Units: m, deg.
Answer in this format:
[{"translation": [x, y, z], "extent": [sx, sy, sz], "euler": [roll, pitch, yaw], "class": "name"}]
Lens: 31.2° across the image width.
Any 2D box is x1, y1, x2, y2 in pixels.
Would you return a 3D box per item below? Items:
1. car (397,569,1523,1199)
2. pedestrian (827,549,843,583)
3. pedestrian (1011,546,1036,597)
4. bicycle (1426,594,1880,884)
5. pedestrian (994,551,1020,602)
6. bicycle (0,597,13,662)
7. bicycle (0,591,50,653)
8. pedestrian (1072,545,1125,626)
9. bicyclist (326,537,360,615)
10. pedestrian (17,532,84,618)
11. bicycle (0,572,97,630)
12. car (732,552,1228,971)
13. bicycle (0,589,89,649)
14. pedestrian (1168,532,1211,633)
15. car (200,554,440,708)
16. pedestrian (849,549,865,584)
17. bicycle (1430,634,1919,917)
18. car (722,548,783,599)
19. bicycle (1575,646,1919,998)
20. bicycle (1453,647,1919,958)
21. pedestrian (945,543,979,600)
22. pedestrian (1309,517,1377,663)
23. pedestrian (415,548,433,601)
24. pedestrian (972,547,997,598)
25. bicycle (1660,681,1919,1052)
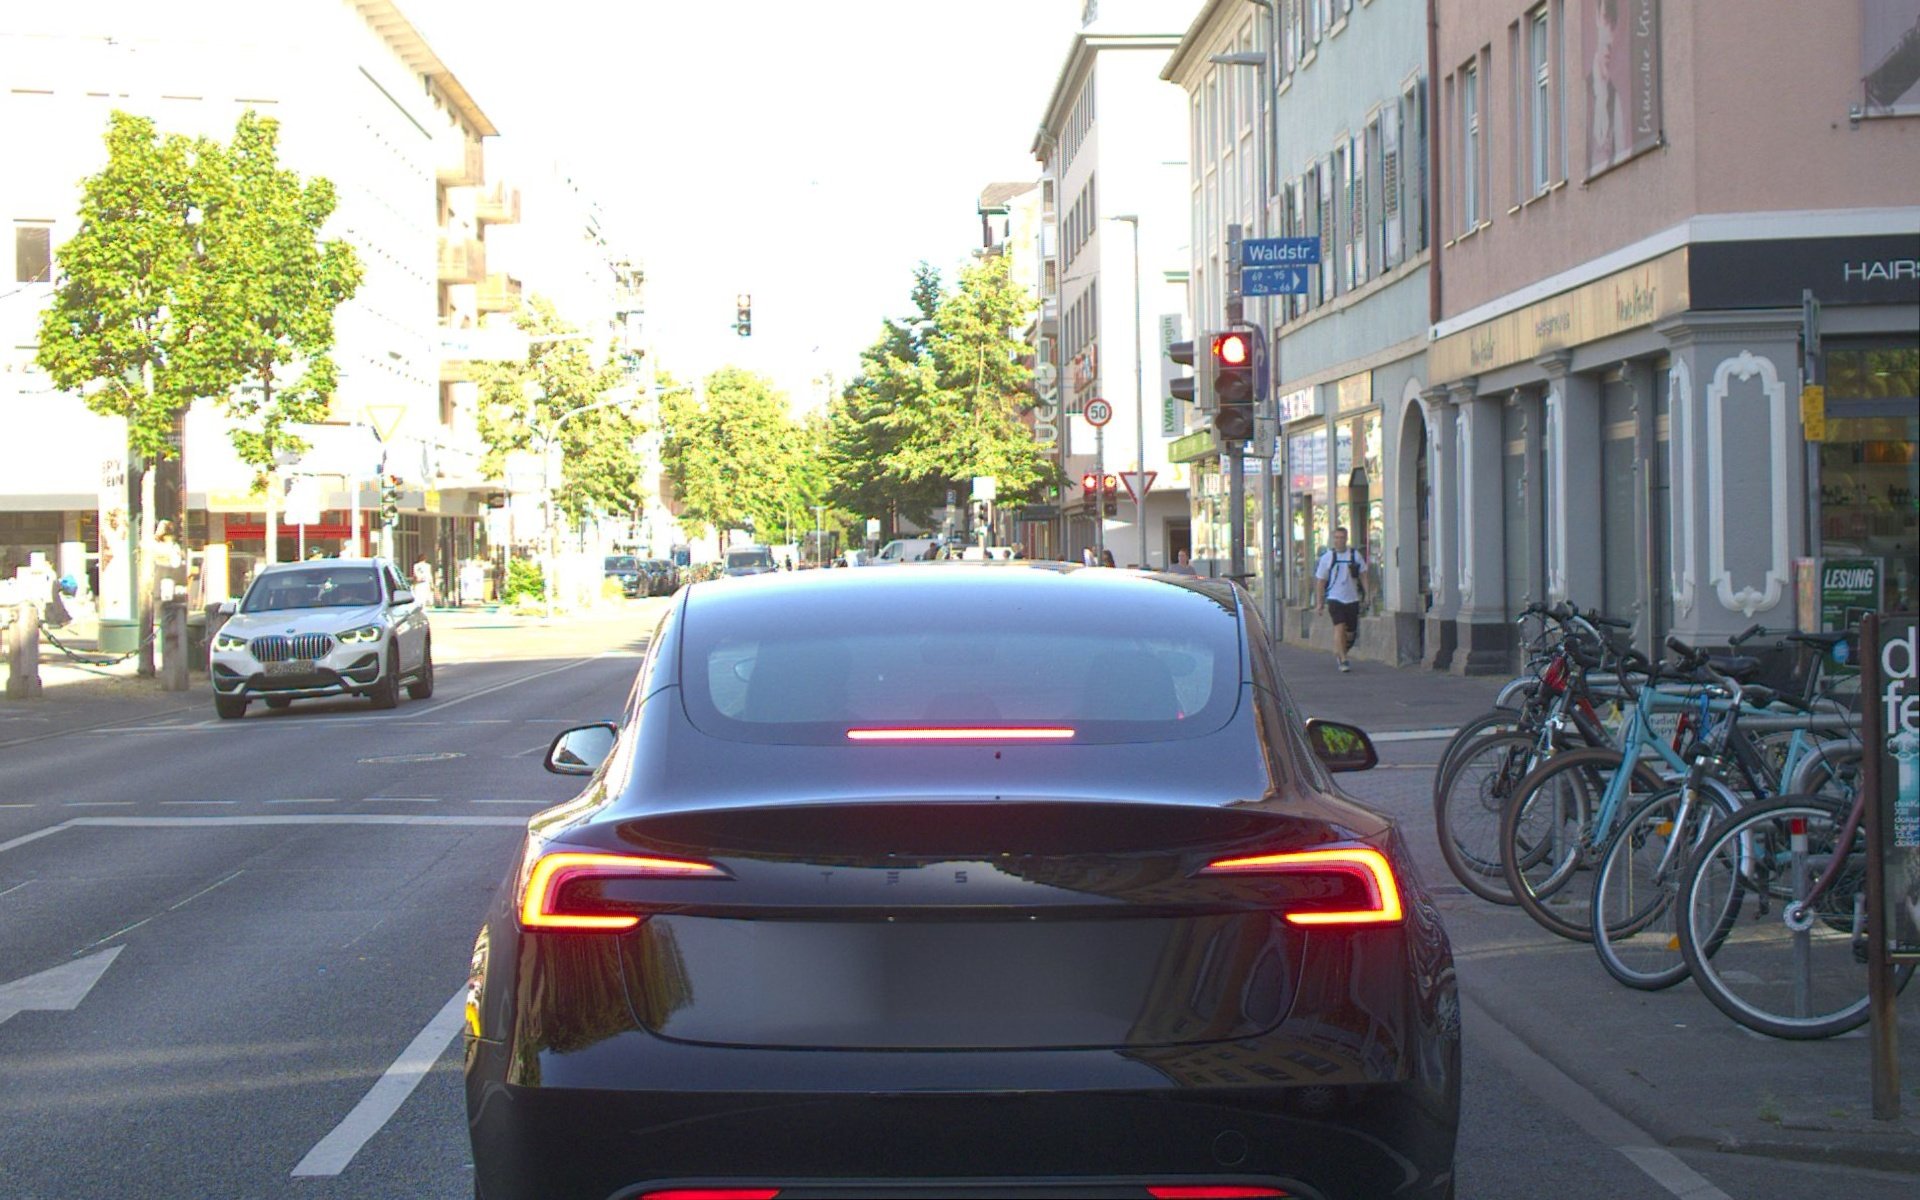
[{"translation": [-0.023, 0.655, 7.568], "extent": [1.822, 1.437, 4.000], "euler": [0, 1, -1], "class": "car"}, {"translation": [-7.358, -1.987, 202.663], "extent": [0.930, 2.007, 0.938], "euler": [1, 0, -1], "class": "pedestrian"}, {"translation": [1.764, -0.796, 95.786], "extent": [0.521, 1.417, 0.479], "euler": [1, 0, -30], "class": "pedestrian"}, {"translation": [2.952, 0.591, 14.749], "extent": [1.828, 1.165, 0.505], "euler": [-2, 0, 5], "class": "bicycle"}, {"translation": [1.293, -0.649, 95.266], "extent": [0.521, 1.417, 0.479], "euler": [1, 0, -30], "class": "pedestrian"}, {"translation": [-14.720, 0.414, 49.763], "extent": [1.864, 0.931, 0.606], "euler": [1, 0, -1], "class": "bicycle"}, {"translation": [-14.817, 0.327, 52.165], "extent": [1.864, 0.931, 0.606], "euler": [0, 1, -1], "class": "bicycle"}, {"translation": [2.791, -0.294, 69.345], "extent": [0.754, 1.626, 0.956], "euler": [1, 0, -18], "class": "pedestrian"}, {"translation": [-11.860, -0.464, 66.115], "extent": [0.522, 1.498, 0.476], "euler": [1, 0, -26], "class": "bicyclist"}, {"translation": [-21.331, -0.591, 80.638], "extent": [1.059, 2.007, 1.053], "euler": [1, 0, 29], "class": "pedestrian"}, {"translation": [-20.840, 0.017, 78.006], "extent": [2.361, 1.291, 0.513], "euler": [1, 0, -26], "class": "bicycle"}, {"translation": [0.001, 0.533, 13.784], "extent": [1.718, 1.420, 3.758], "euler": [0, 1, -2], "class": "car"}, {"translation": [-14.845, 0.302, 54.613], "extent": [1.864, 0.931, 0.606], "euler": [0, 1, -1], "class": "bicycle"}, {"translation": [3.977, -0.308, 59.689], "extent": [0.706, 1.736, 0.540], "euler": [0, 1, -1], "class": "pedestrian"}, {"translation": [-6.663, 0.291, 36.136], "extent": [1.789, 1.455, 3.757], "euler": [-2, 1, 0], "class": "car"}, {"translation": [-6.070, -1.969, 202.619], "extent": [0.930, 2.007, 0.938], "euler": [1, 0, -1], "class": "pedestrian"}, {"translation": [2.835, 0.686, 13.617], "extent": [1.873, 1.034, 0.547], "euler": [-2, 0, 5], "class": "bicycle"}, {"translation": [-6.890, -0.897, 114.554], "extent": [1.787, 1.640, 4.403], "euler": [1, 1, -1], "class": "car"}, {"translation": [2.983, 0.701, 11.163], "extent": [1.873, 1.084, 0.414], "euler": [-2, 0, 4], "class": "bicycle"}, {"translation": [2.762, 0.719, 12.404], "extent": [1.873, 1.034, 0.533], "euler": [-2, 0, 4], "class": "bicycle"}, {"translation": [0.058, -0.866, 103.637], "extent": [0.715, 1.689, 0.851], "euler": [0, 1, -28], "class": "pedestrian"}, {"translation": [4.721, -0.127, 42.418], "extent": [0.750, 1.759, 0.836], "euler": [1, 0, 4], "class": "pedestrian"}, {"translation": [-14.709, -0.696, 94.412], "extent": [0.459, 1.455, 0.518], "euler": [0, 1, -5], "class": "pedestrian"}, {"translation": [0.670, -0.760, 95.757], "extent": [0.472, 1.412, 0.522], "euler": [1, 0, -31], "class": "pedestrian"}, {"translation": [3.020, 0.753, 9.985], "extent": [1.873, 1.034, 0.353], "euler": [-2, 0, 6], "class": "bicycle"}]
